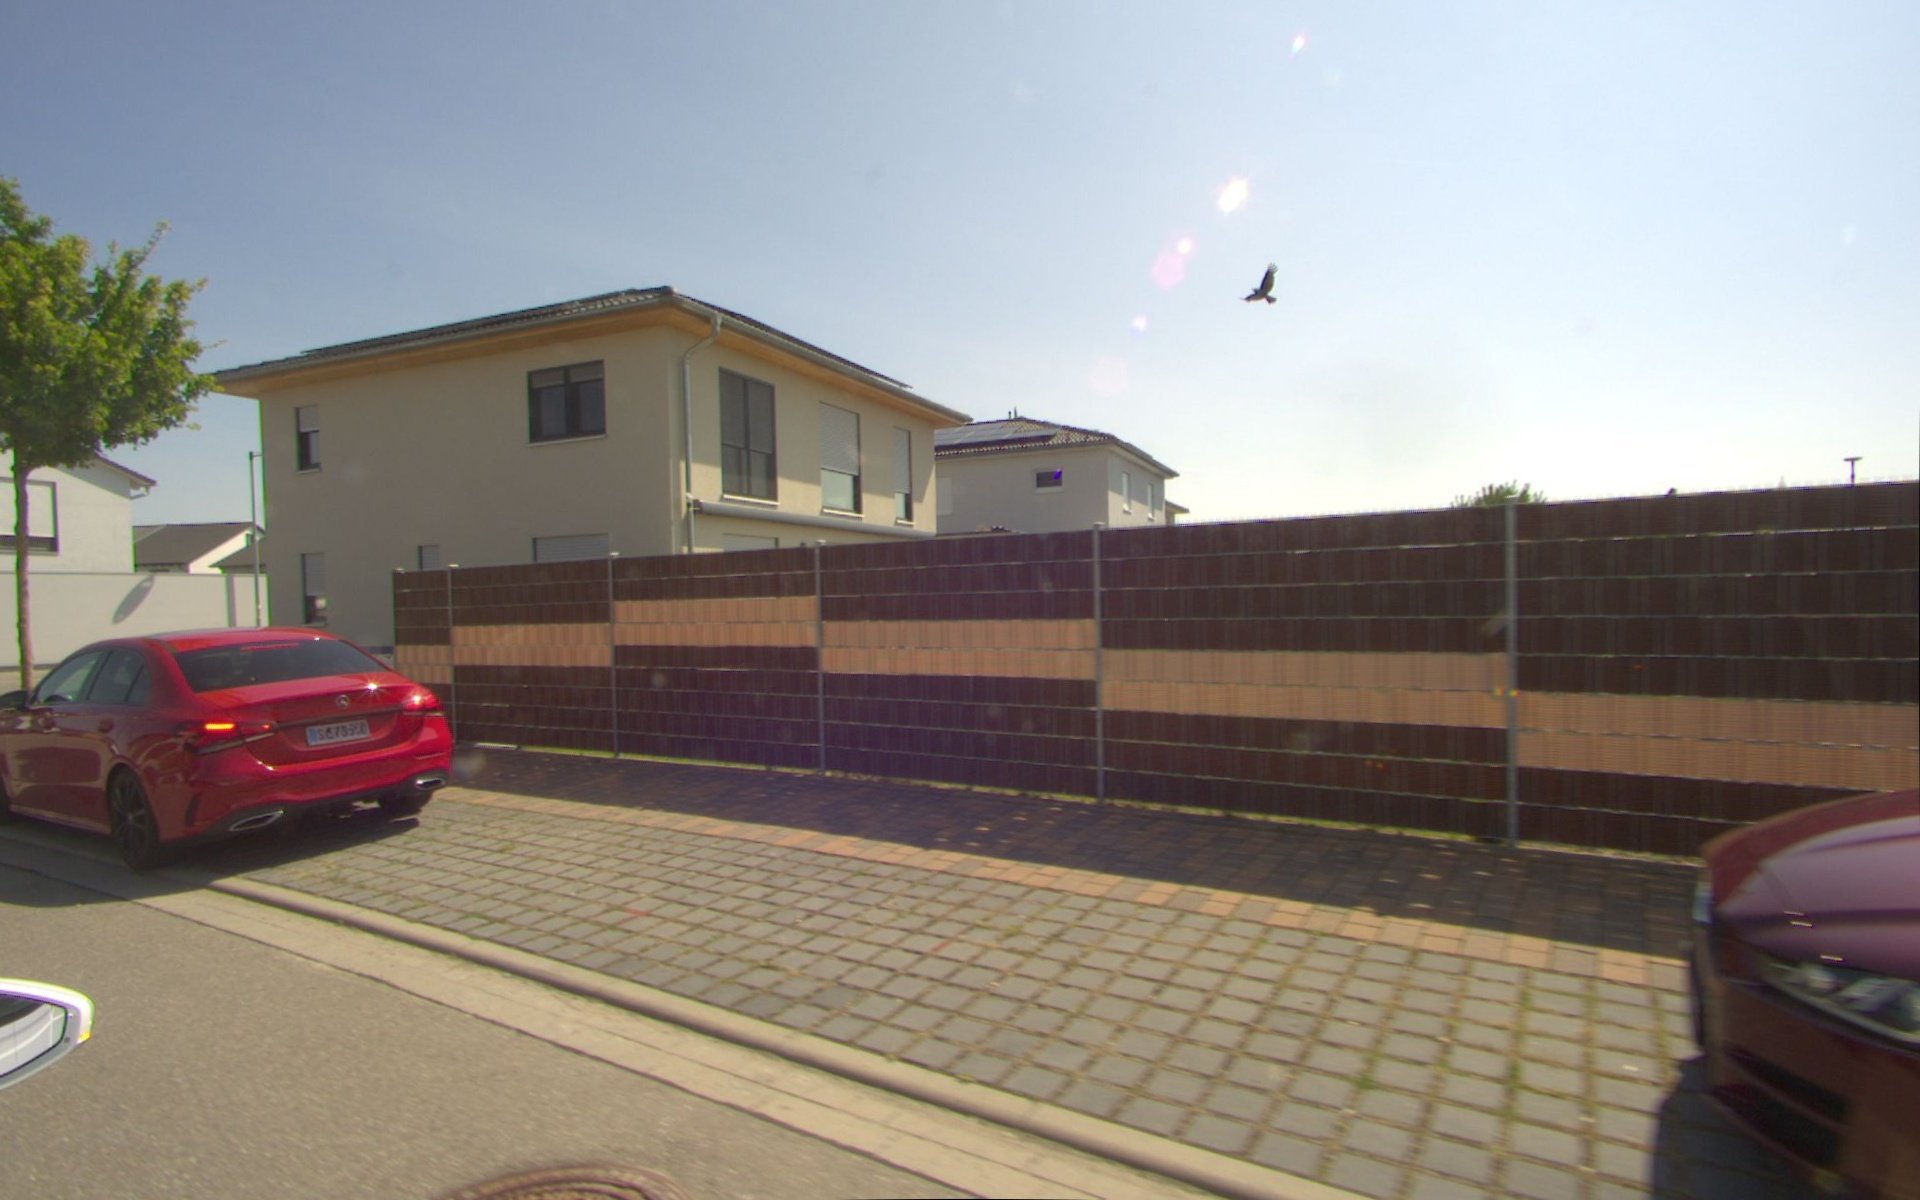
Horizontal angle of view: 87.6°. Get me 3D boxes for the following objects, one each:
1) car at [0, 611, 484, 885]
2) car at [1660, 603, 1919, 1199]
[{"bbox_3d":[-5.735,0.880,7.521,4.455,1.457,1.758,-1,2,32],"label":"car"},{"bbox_3d":[3.834,0.687,1.507,4.514,1.381,1.749,-1,1,35],"label":"car"}]
